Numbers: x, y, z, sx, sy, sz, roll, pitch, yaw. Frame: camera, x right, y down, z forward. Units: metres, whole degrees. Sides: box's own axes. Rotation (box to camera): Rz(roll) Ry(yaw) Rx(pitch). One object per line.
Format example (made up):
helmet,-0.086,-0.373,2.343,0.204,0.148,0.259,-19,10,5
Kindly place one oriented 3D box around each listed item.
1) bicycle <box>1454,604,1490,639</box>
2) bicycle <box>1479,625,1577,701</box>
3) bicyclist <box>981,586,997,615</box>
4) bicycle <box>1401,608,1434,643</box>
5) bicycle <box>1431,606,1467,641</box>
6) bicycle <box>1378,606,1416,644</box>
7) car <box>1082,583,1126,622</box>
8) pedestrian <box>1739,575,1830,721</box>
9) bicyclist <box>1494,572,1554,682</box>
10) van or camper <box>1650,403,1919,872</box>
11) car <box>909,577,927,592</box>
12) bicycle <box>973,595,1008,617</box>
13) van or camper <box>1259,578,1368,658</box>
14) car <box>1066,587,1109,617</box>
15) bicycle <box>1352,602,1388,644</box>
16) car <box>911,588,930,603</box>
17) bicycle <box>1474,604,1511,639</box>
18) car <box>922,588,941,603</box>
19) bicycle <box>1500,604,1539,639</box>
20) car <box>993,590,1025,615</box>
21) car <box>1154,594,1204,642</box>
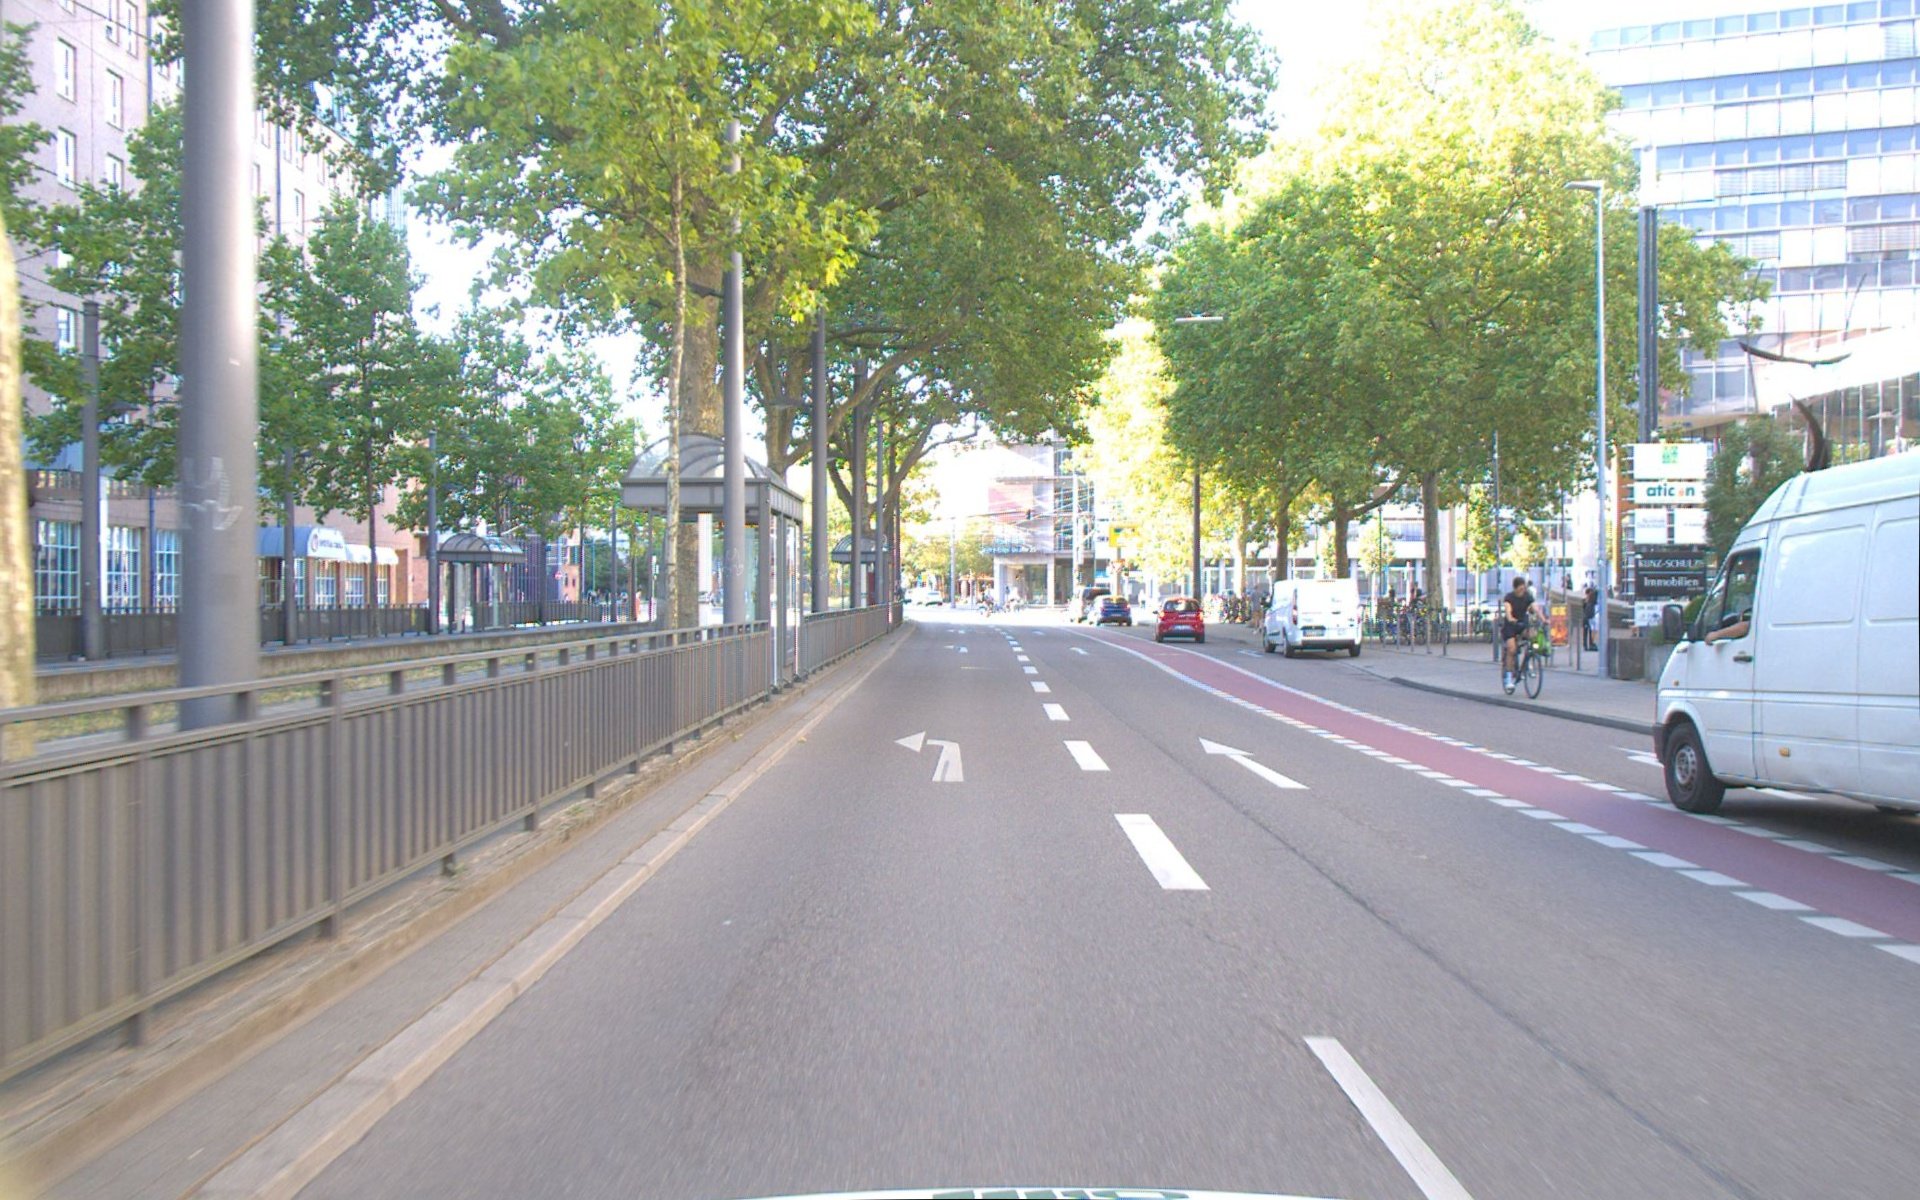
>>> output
bicycle,15.334,0.628,49.553,0.493,0.999,1.767,-2,0,-1
bicycle,9.118,0.988,26.638,0.669,1.085,2.469,-2,0,-1
bicyclist,1.652,0.026,94.813,0.820,1.619,0.838,0,0,-5
bicycle,13.689,0.748,49.503,0.458,0.999,1.767,-2,0,-1
bicycle,14.642,0.691,49.526,0.493,0.999,1.767,-2,0,-1
bicycle,13.061,0.731,49.480,0.574,1.085,1.899,-2,0,-1
car,7.050,0.105,81.145,1.604,1.831,3.326,-1,1,-5
pedestrian,10.173,0.574,20.432,0.553,1.732,0.906,-4,0,-2
bicyclist,9.109,0.426,26.744,0.636,1.731,0.952,0,0,-1
van or camper,6.619,0.220,10.315,1.928,2.763,6.304,0,1,-1
car,-4.655,-1.679,181.527,1.743,1.616,3.408,0,1,-5
bicycle,1.748,0.335,94.817,1.973,1.235,0.838,0,0,-5
van or camper,9.317,0.443,43.998,1.952,2.024,4.745,0,0,1
car,6.723,0.088,87.350,1.743,1.561,3.509,0,1,-5
bicycle,12.255,0.680,49.482,0.574,1.181,1.899,-2,0,-1
car,-4.203,-0.504,175.524,1.743,1.561,3.408,0,1,-5
bicycle,15.953,0.646,49.569,0.493,0.999,1.767,-2,0,-1
car,-2.885,-0.451,168.944,1.743,1.561,3.408,0,1,-5
bicycle,16.735,0.628,49.501,0.493,0.999,1.767,-2,0,-1
car,3.203,0.135,108.241,1.743,1.561,3.509,0,1,-5
car,7.485,0.584,56.613,1.579,1.561,3.414,0,1,6
